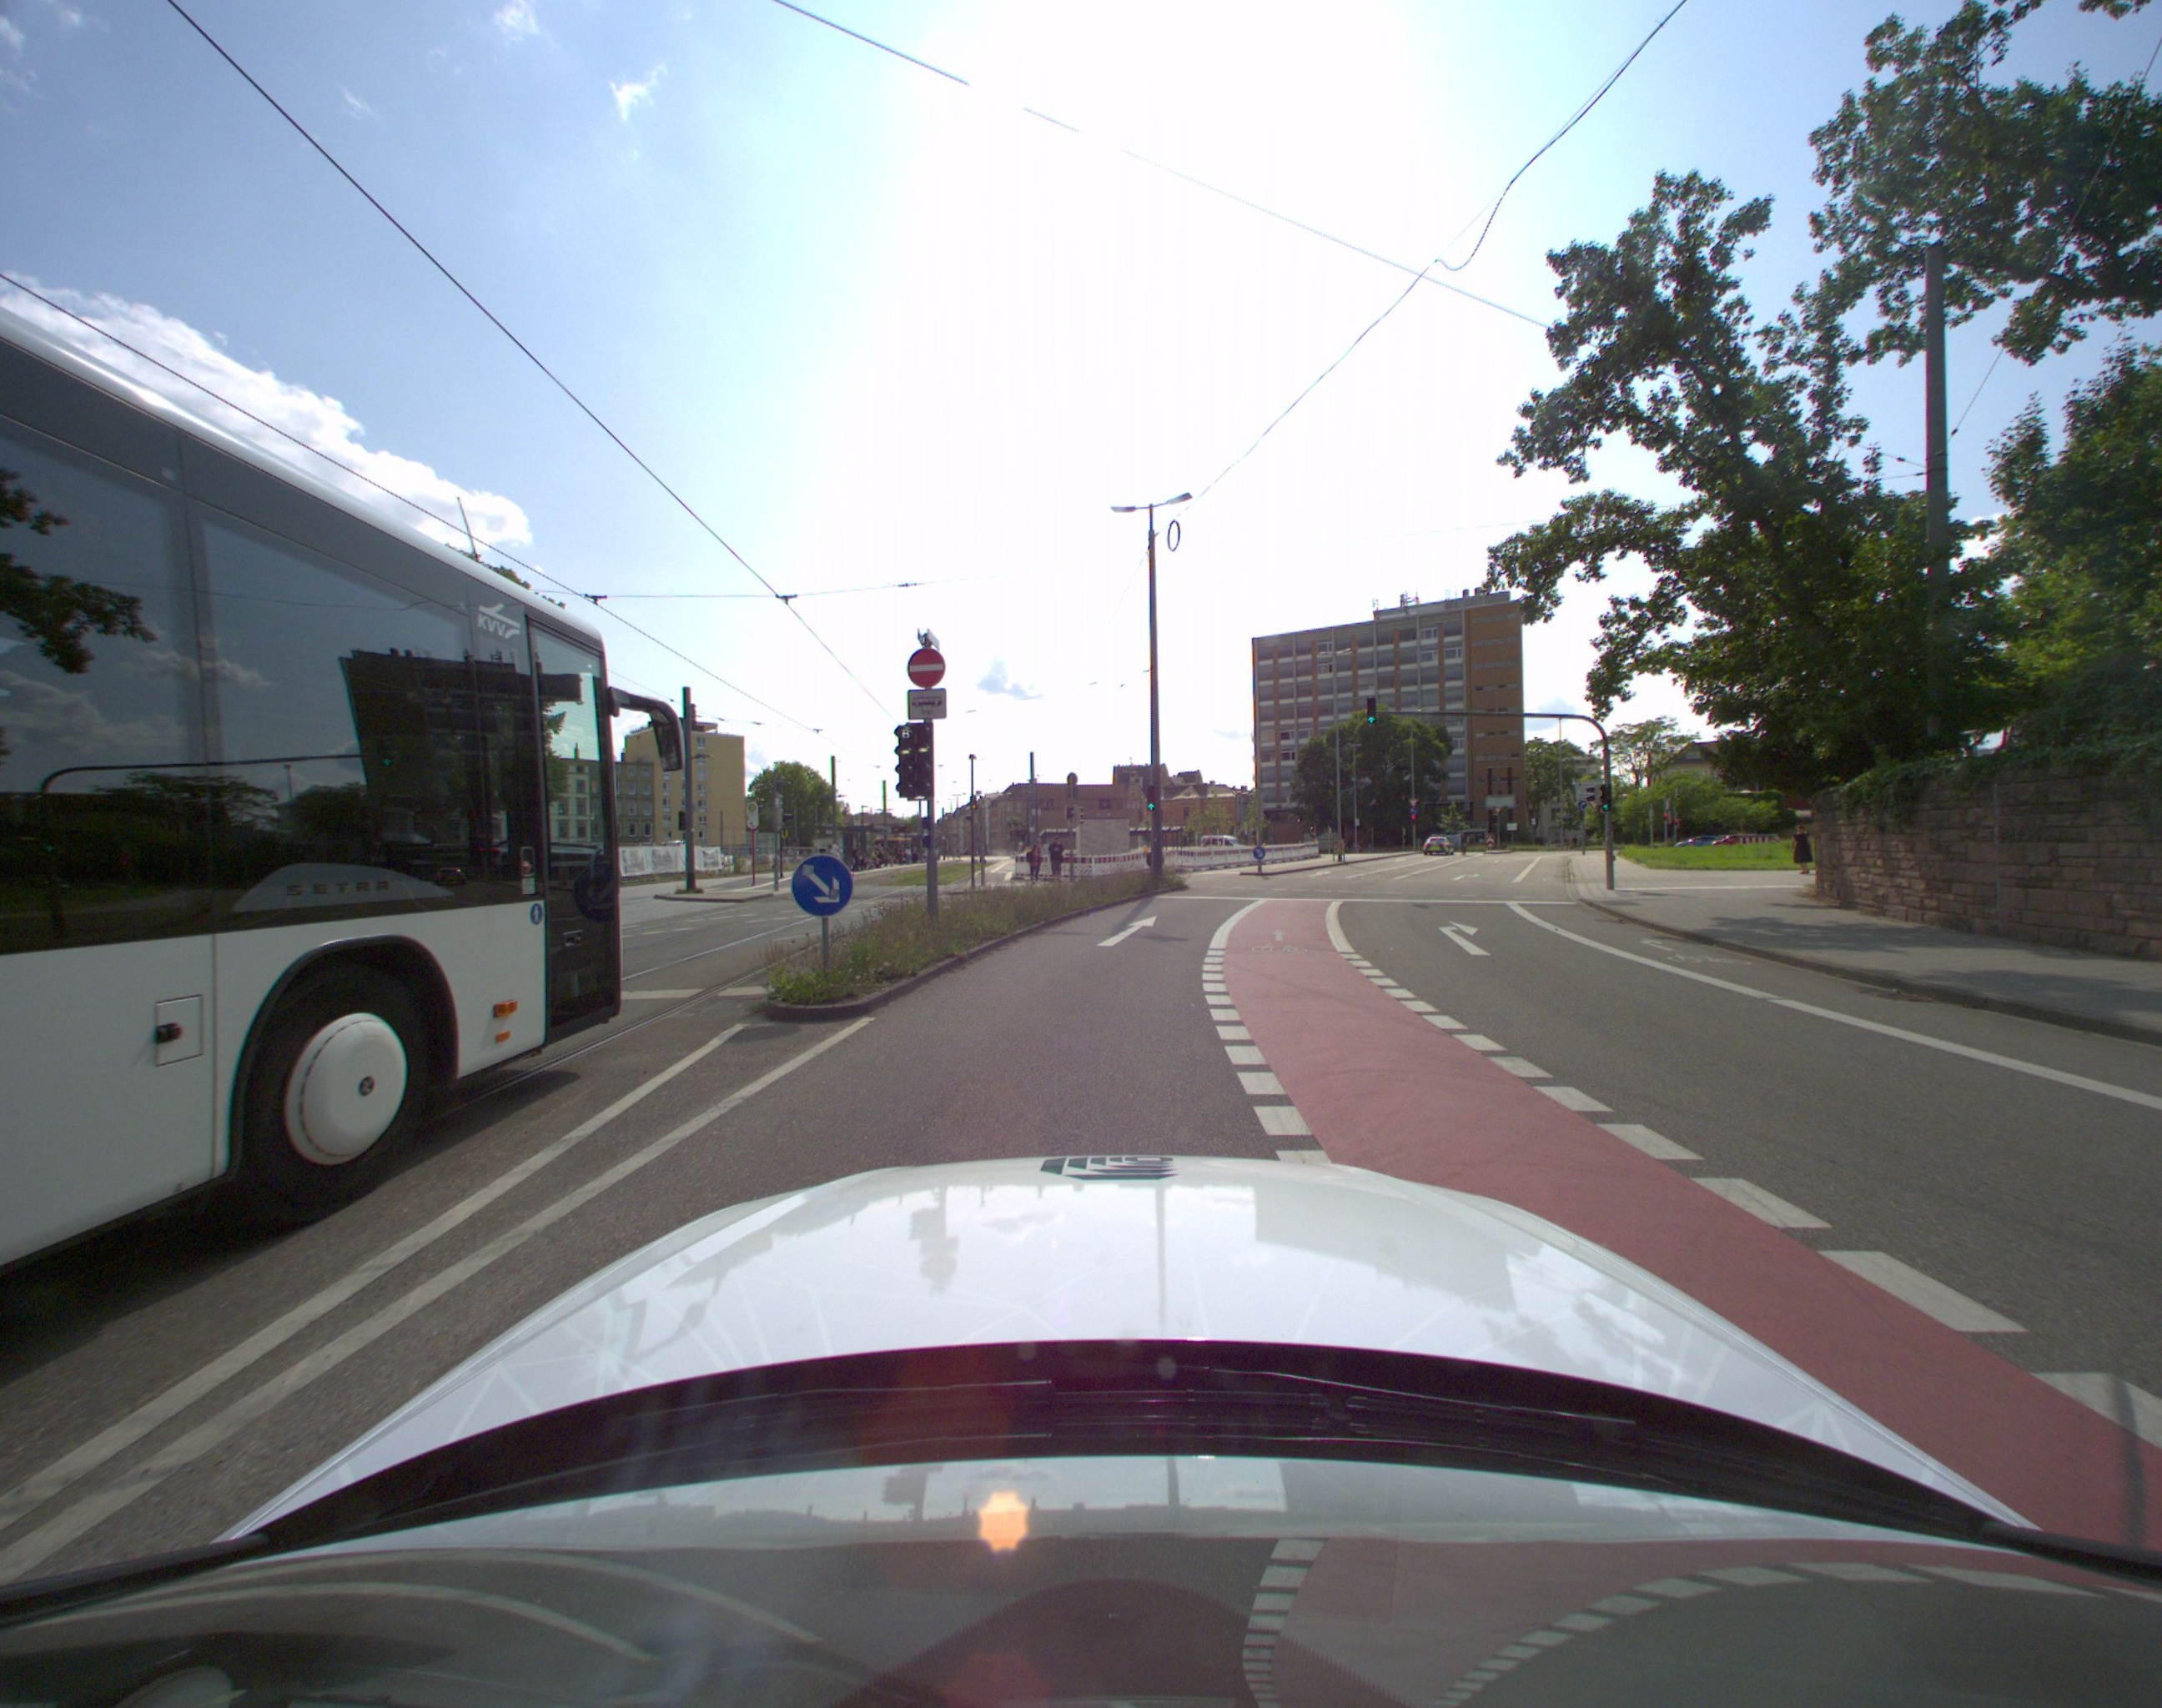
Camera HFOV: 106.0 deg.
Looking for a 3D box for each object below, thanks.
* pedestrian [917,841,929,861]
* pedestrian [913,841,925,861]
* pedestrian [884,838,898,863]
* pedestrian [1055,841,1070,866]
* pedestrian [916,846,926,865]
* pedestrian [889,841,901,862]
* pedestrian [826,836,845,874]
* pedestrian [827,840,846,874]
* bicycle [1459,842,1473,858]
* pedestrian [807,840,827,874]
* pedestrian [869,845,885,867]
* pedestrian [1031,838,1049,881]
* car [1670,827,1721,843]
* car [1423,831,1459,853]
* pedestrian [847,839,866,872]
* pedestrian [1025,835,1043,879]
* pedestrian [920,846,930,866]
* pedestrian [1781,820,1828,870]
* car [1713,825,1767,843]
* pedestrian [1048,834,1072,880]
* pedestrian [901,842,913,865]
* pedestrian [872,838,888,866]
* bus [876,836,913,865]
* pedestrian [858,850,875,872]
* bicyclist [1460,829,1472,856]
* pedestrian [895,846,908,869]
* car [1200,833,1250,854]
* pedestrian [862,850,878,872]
[{"bbox_3d":[-15.724,-0.317,81.185,0.946,2.013,0.724,0,0,-30],"label":"pedestrian"},{"bbox_3d":[-15.970,-0.314,80.182,0.946,2.013,0.724,0,0,-30],"label":"pedestrian"},{"bbox_3d":[-15.280,-0.261,65.466,0.946,2.013,0.724,0,0,-30],"label":"pedestrian"},{"bbox_3d":[-1.389,-0.011,59.724,0.933,1.790,1.175,-1,0,-9],"label":"pedestrian"},{"bbox_3d":[-16.940,0.192,86.290,0.942,2.013,0.727,0,0,-15],"label":"pedestrian"},{"bbox_3d":[-17.566,-0.235,76.914,0.946,2.013,0.724,0,0,-30],"label":"pedestrian"},{"bbox_3d":[-13.318,0.046,44.220,0.812,2.013,0.798,-1,0,-2],"label":"pedestrian"},{"bbox_3d":[-14.666,0.158,48.876,0.938,2.013,0.730,-1,0,-2],"label":"pedestrian"},{"bbox_3d":[29.115,-0.321,61.543,0.714,1.084,2.205,-2,1,31],"label":"bicycle"},{"bbox_3d":[-15.684,0.169,48.399,0.938,2.013,0.730,-1,0,-2],"label":"pedestrian"},{"bbox_3d":[-13.915,0.140,55.511,0.938,1.431,0.730,-1,0,-2],"label":"pedestrian"},{"bbox_3d":[-1.669,0.237,33.290,0.404,1.736,0.625,-2,0,26],"label":"pedestrian"},{"bbox_3d":[58.661,-1.798,77.736,3.689,1.456,1.636,-2,0,43],"label":"car"},{"bbox_3d":[28.413,-0.970,64.285,2.110,1.683,4.128,1,1,31],"label":"car"},{"bbox_3d":[-13.818,0.070,50.201,0.938,2.013,0.730,-1,0,-2],"label":"pedestrian"},{"bbox_3d":[-1.844,0.099,32.157,0.611,1.706,0.621,-2,0,-10],"label":"pedestrian"},{"bbox_3d":[-15.914,0.181,83.000,0.942,2.013,0.727,0,0,-15],"label":"pedestrian"},{"bbox_3d":[23.984,-0.290,27.010,0.885,1.639,0.746,-1,-2,-13],"label":"pedestrian"},{"bbox_3d":[59.555,-1.819,73.650,3.689,1.456,1.636,-2,0,43],"label":"car"},{"bbox_3d":[-0.864,0.125,33.780,0.794,1.884,0.609,-2,0,-19],"label":"pedestrian"},{"bbox_3d":[-15.530,-0.065,72.680,0.946,2.013,0.724,0,0,-29],"label":"pedestrian"},{"bbox_3d":[-14.630,-0.134,59.237,0.938,2.013,0.730,-1,0,-2],"label":"pedestrian"},{"bbox_3d":[-20.957,-0.448,91.904,2.418,2.982,10.527,-2,1,-4],"label":"bus"},{"bbox_3d":[-14.140,0.458,53.706,0.938,1.431,0.730,-1,0,-2],"label":"pedestrian"},{"bbox_3d":[29.166,-0.862,61.657,0.711,1.973,0.845,-2,1,31],"label":"bicyclist"},{"bbox_3d":[-15.507,0.301,70.342,0.947,2.013,0.723,0,0,-34],"label":"pedestrian"},{"bbox_3d":[16.743,-1.237,95.127,2.314,2.319,5.523,-2,0,-40],"label":"car"},{"bbox_3d":[-14.135,0.458,54.565,0.938,1.431,0.730,-1,0,-2],"label":"pedestrian"}]
